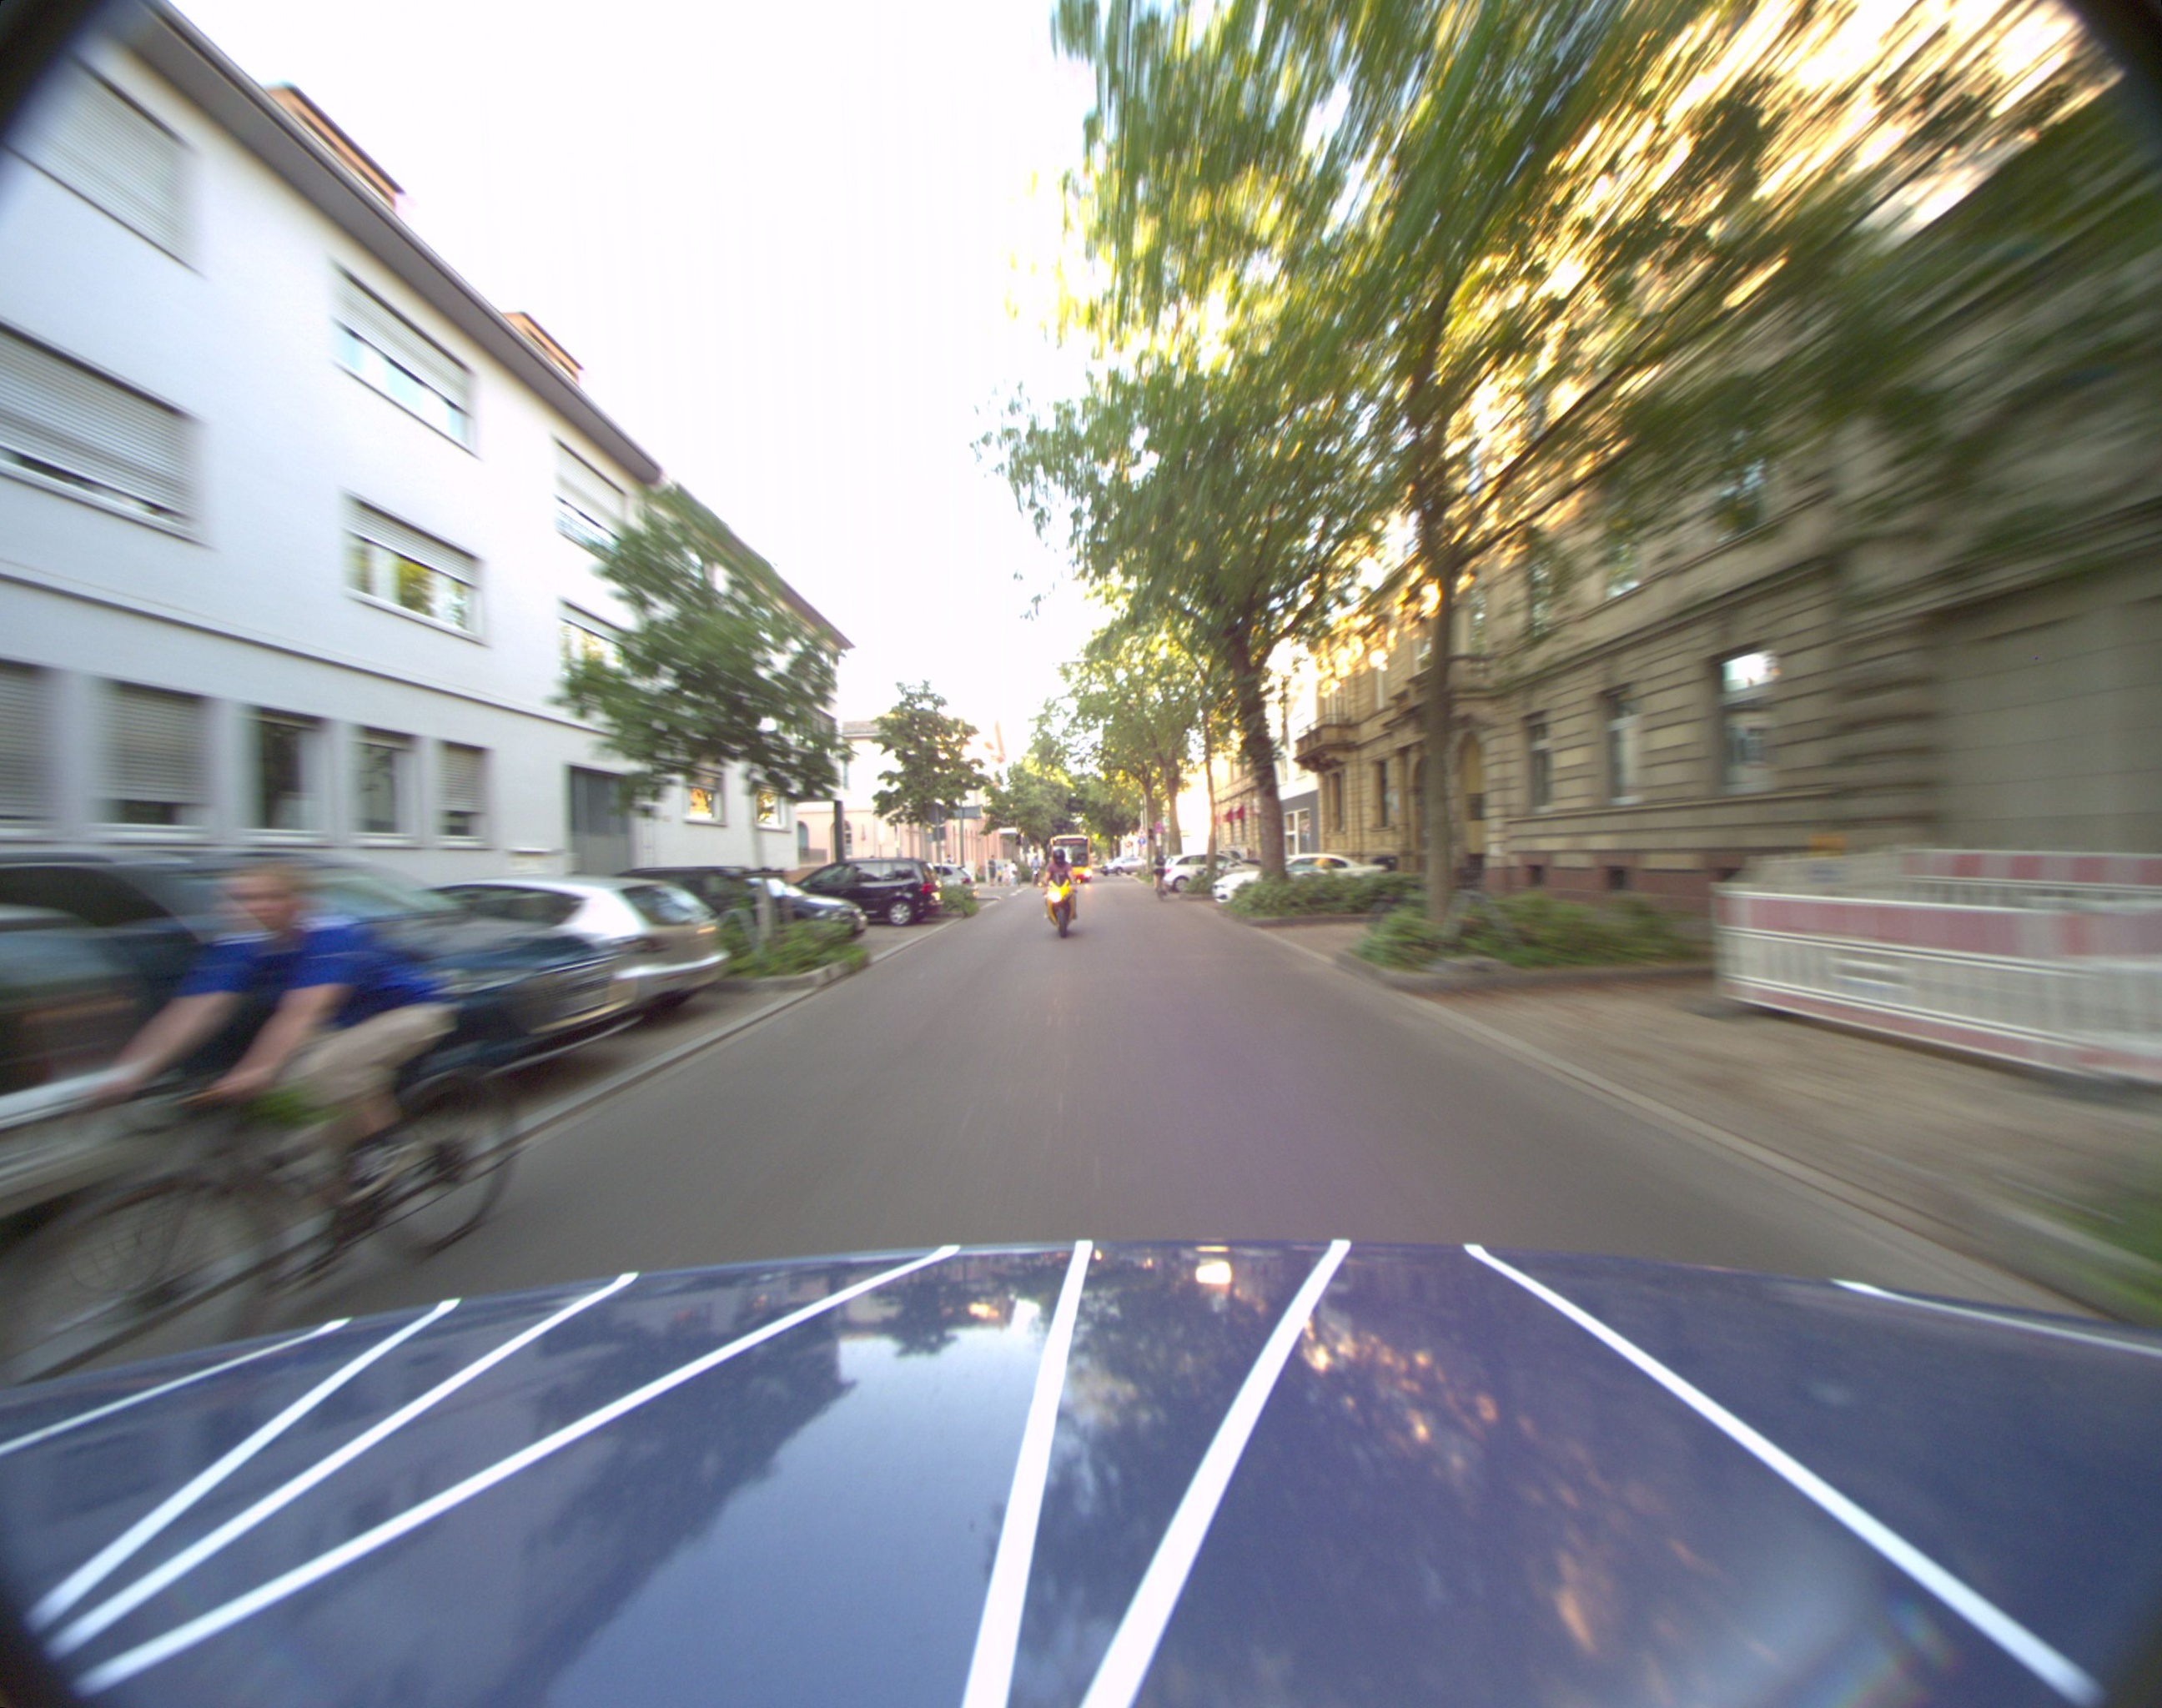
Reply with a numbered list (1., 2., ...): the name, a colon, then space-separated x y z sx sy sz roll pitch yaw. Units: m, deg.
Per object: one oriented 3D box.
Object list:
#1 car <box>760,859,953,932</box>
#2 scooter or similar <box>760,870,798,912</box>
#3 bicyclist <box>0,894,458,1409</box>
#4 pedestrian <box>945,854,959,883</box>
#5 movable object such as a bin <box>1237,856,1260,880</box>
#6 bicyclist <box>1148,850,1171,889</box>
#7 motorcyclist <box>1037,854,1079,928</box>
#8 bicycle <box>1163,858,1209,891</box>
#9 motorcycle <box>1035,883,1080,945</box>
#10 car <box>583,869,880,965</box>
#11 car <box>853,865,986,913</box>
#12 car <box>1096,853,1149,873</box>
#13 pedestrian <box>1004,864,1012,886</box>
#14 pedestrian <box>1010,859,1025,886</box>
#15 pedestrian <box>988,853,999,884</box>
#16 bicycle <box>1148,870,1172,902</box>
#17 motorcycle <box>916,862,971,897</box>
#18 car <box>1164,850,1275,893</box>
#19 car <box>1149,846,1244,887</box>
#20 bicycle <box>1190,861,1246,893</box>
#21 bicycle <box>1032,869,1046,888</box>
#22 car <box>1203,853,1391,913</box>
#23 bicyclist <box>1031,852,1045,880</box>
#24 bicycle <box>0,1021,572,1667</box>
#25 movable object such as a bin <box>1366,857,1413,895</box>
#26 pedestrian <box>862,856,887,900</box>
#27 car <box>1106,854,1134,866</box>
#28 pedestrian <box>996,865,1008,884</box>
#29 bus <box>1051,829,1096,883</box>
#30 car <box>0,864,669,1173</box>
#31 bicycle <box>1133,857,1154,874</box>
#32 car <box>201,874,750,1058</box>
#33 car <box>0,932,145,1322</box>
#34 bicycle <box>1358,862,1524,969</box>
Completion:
1. car: -5.426 0.985 18.795 4.119 1.608 1.961 -2 0 1
2. scooter or similar: -9.360 1.134 23.568 0.346 1.232 1.422 -2 0 11
3. bicyclist: -2.739 0.847 2.487 0.674 1.355 0.776 -3 0 1
4. pedestrian: -8.150 0.898 47.988 0.699 1.844 1.049 0 0 0
5. movable object such as a bin: 7.663 0.632 34.801 0.776 1.055 1.317 -2 0 0
6. bicyclist: 2.561 0.504 24.926 0.673 1.256 0.648 -1 0 2
7. motorcyclist: -0.444 0.716 15.004 0.737 1.404 0.726 -2 0 1
8. bicycle: 4.466 0.850 32.424 1.799 1.318 0.773 -2 0 -5
9. motorcycle: -0.434 1.143 14.944 0.737 1.053 1.964 -2 0 1
10. car: -5.921 1.049 13.257 4.326 1.487 1.794 0 0 0
11. car: -5.305 1.140 25.340 3.996 1.429 1.794 -2 0 1
12. car: 3.615 0.776 65.610 4.368 1.561 1.942 -2 1 -39
13. pedestrian: -4.271 1.228 44.335 0.451 1.254 0.490 0 0 -5
14. pedestrian: -3.643 1.051 43.485 0.600 1.502 0.719 0 0 -28
15. pedestrian: -5.099 0.838 44.524 0.544 1.764 0.576 0 0 2
16. bicycle: 2.588 1.032 25.035 0.673 0.988 1.759 -1 0 3
17. motorcycle: -5.553 1.031 30.747 1.910 1.384 1.000 -1 1 14
18. car: 5.539 0.694 30.837 4.180 1.548 1.827 -2 0 3
19. car: 5.776 0.613 38.361 4.436 1.712 1.890 -4 0 -1
20. bicycle: 4.712 0.780 26.239 1.798 1.003 0.598 -3 1 1
21. bicycle: -2.354 1.365 42.370 0.637 0.977 1.981 -4 -1 -1
22. car: 5.729 0.762 20.583 4.524 1.382 1.916 -2 0 1
23. bicyclist: -2.403 0.666 42.378 0.637 1.552 0.819 -4 0 -1
24. bicycle: -2.708 1.286 2.481 0.674 1.024 1.977 -3 0 1
25. movable object such as a bin: 9.225 0.643 22.775 0.802 1.055 1.317 -4 0 0
26. pedestrian: -8.572 0.970 31.542 0.699 1.784 1.065 -1 0 2
27. car: 6.077 0.935 118.108 3.999 1.699 1.844 -2 0 -7
28. pedestrian: -4.655 1.216 44.855 0.491 1.138 0.547 1 0 38
29. bus: -0.434 0.137 53.265 2.668 3.176 11.898 -3 0 0
30. car: -5.673 0.931 5.200 4.602 1.569 1.944 2 0 0
31. bicycle: 4.919 0.909 59.743 0.805 1.217 2.422 -6 -3 25
32. car: -5.771 1.001 7.602 4.083 1.421 1.818 2 0 3
33. car: -5.972 1.011 2.433 3.802 1.415 1.697 2 0 0
34. bicycle: 4.446 0.753 9.450 1.775 1.225 0.500 -2 2 6
